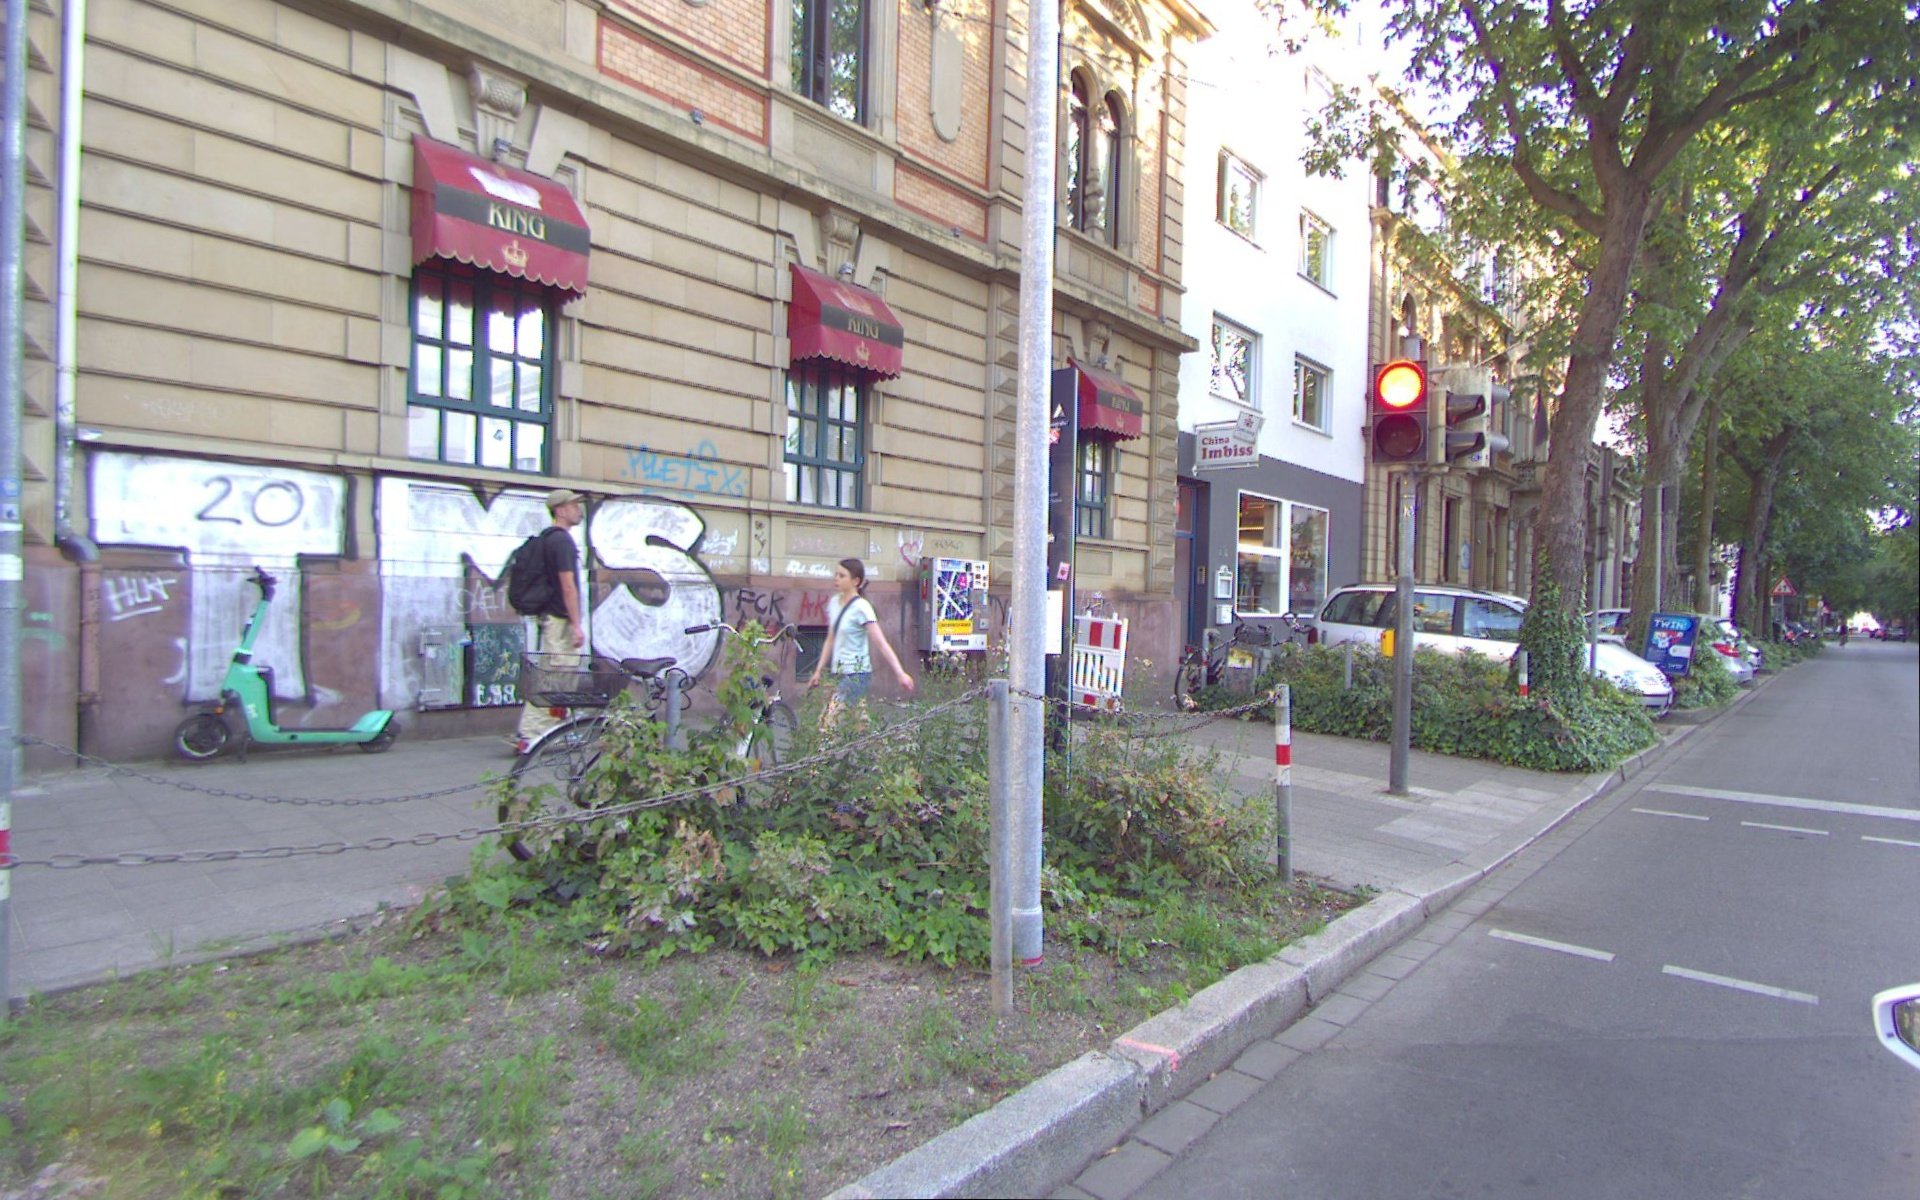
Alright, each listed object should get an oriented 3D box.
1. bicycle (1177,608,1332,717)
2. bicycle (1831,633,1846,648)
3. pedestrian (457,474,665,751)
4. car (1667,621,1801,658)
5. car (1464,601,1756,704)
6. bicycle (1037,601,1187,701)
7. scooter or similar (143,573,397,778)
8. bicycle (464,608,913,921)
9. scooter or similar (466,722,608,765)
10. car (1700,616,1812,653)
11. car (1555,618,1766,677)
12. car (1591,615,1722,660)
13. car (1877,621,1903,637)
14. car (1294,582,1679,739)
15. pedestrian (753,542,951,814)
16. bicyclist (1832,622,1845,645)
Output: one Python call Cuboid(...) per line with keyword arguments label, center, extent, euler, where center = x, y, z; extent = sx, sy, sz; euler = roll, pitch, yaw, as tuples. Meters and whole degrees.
Cuboid(label="bicycle", center=(3.746, 0.731, 12.602), extent=(0.726, 1.202, 2.619), euler=(3, 1, 43))
Cuboid(label="bicycle", center=(57.580, 2.655, 65.857), extent=(0.564, 0.961, 1.738), euler=(2, 0, 36))
Cuboid(label="pedestrian", center=(-2.816, 0.078, 7.060), extent=(1.251, 1.762, 0.844), euler=(1, 2, -28))
Cuboid(label="car", center=(33.899, 1.676, 44.058), extent=(4.499, 1.428, 1.822), euler=(1, 0, 43))
Cuboid(label="car", center=(12.459, 0.921, 19.454), extent=(4.499, 1.711, 1.822), euler=(1, 0, 43))
Cuboid(label="bicycle", center=(2.086, 0.648, 13.470), extent=(0.630, 1.218, 2.548), euler=(1, 0, 43))
Cuboid(label="scooter or similar", center=(-4.347, 0.452, 6.392), extent=(1.275, 1.183, 0.435), euler=(2, 2, -36))
Cuboid(label="bicycle", center=(-1.155, 0.641, 4.758), extent=(0.505, 1.169, 2.090), euler=(4, 2, 42))
Cuboid(label="scooter or similar", center=(-2.942, 0.990, 6.987), extent=(0.871, 0.210, 0.415), euler=(3, 2, -28))
Cuboid(label="car", center=(42.142, 1.783, 53.252), extent=(4.499, 1.714, 1.822), euler=(2, 0, 43))
Cuboid(label="car", center=(18.983, 1.232, 27.360), extent=(4.499, 1.390, 1.822), euler=(1, 0, 43))
Cuboid(label="car", center=(27.131, 1.422, 39.185), extent=(3.995, 1.611, 1.822), euler=(1, 0, 43))
Cuboid(label="car", center=(97.586, 3.021, 105.379), extent=(1.804, 1.582, 4.007), euler=(3, 1, 41))
Cuboid(label="car", center=(7.251, 0.708, 14.102), extent=(4.494, 1.859, 1.824), euler=(1, 0, 40))
Cuboid(label="pedestrian", center=(-0.689, 0.455, 6.382), extent=(0.970, 1.578, 0.694), euler=(2, 2, -34))
Cuboid(label="bicyclist", center=(57.584, 2.178, 65.835), extent=(0.564, 1.489, 0.640), euler=(2, 0, 36))
